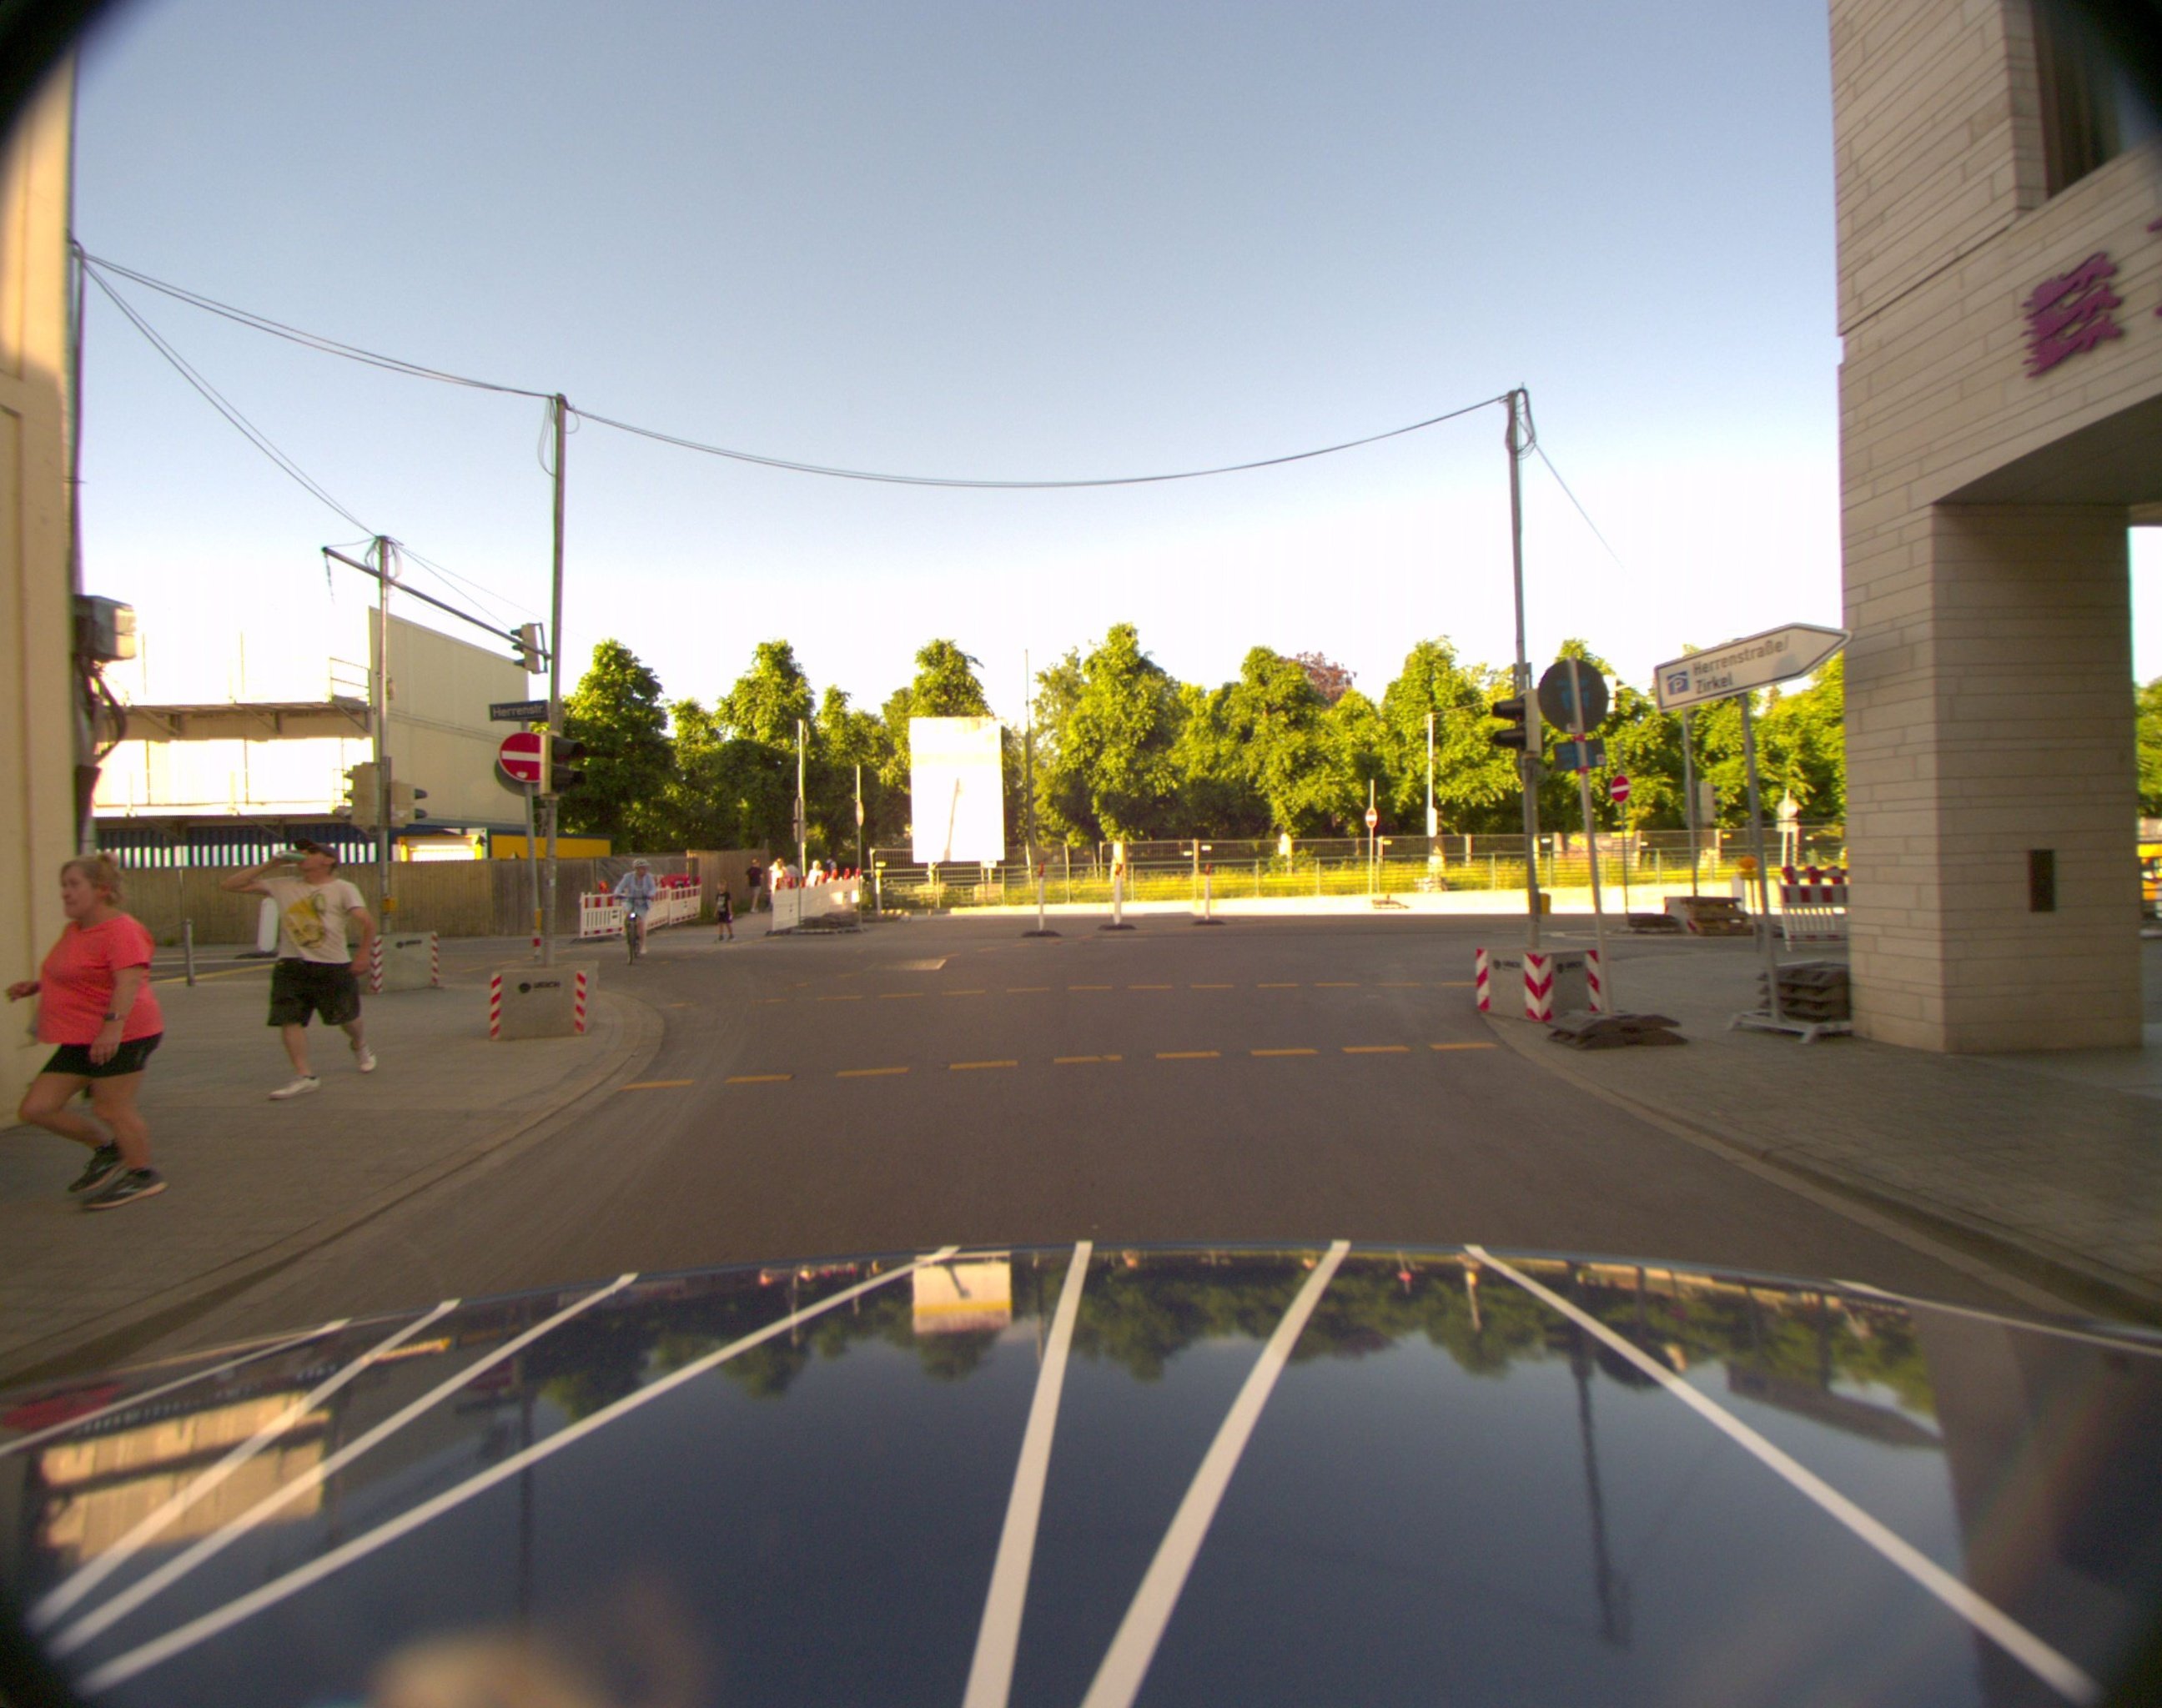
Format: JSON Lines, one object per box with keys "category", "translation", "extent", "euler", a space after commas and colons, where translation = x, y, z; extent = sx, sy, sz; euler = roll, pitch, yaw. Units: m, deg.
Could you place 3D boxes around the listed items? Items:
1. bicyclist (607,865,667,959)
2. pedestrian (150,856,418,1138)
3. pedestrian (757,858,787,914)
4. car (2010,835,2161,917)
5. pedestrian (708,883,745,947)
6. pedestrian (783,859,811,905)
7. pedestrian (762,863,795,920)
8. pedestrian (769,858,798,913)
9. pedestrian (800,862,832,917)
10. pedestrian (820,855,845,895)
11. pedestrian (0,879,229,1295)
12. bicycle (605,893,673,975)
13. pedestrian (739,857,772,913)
{"category": "bicyclist", "translation": [-7.475, 0.950, 12.809], "extent": [0.687, 1.507, 0.703], "euler": [-1, 0, -16]}
{"category": "pedestrian", "translation": [-5.309, 0.878, 5.148], "extent": [0.798, 1.718, 0.977], "euler": [0, 0, -4]}
{"category": "pedestrian", "translation": [-9.686, 0.985, 23.851], "extent": [0.621, 1.706, 0.739], "euler": [-1, 2, 0]}
{"category": "car", "translation": [35.831, 0.759, 25.900], "extent": [6.988, 2.609, 2.117], "euler": [1, 0, -10]}
{"category": "pedestrian", "translation": [-7.385, 1.266, 15.850], "extent": [0.493, 1.291, 0.620], "euler": [-1, -2, -1]}
{"category": "pedestrian", "translation": [-10.105, 0.978, 27.030], "extent": [0.665, 1.610, 0.770], "euler": [-1, 2, 0]}
{"category": "pedestrian", "translation": [-8.745, 1.063, 21.989], "extent": [0.643, 1.595, 0.739], "euler": [-1, 2, 0]}
{"category": "pedestrian", "translation": [-9.709, 1.017, 24.797], "extent": [0.621, 1.761, 0.739], "euler": [-1, 2, 0]}
{"category": "pedestrian", "translation": [-7.796, 1.023, 22.362], "extent": [0.665, 1.557, 0.744], "euler": [-1, 2, -4]}
{"category": "pedestrian", "translation": [-9.359, 0.773, 28.594], "extent": [0.665, 1.454, 0.770], "euler": [-1, 2, 0]}
{"category": "pedestrian", "translation": [-4.495, 0.931, 3.344], "extent": [0.620, 1.614, 0.727], "euler": [2, 0, -4]}
{"category": "bicycle", "translation": [-7.478, 1.303, 12.926], "extent": [0.477, 1.194, 1.996], "euler": [-1, 0, -15]}
{"category": "pedestrian", "translation": [-10.538, 1.002, 24.599], "extent": [0.723, 1.761, 0.739], "euler": [-1, 2, 0]}
